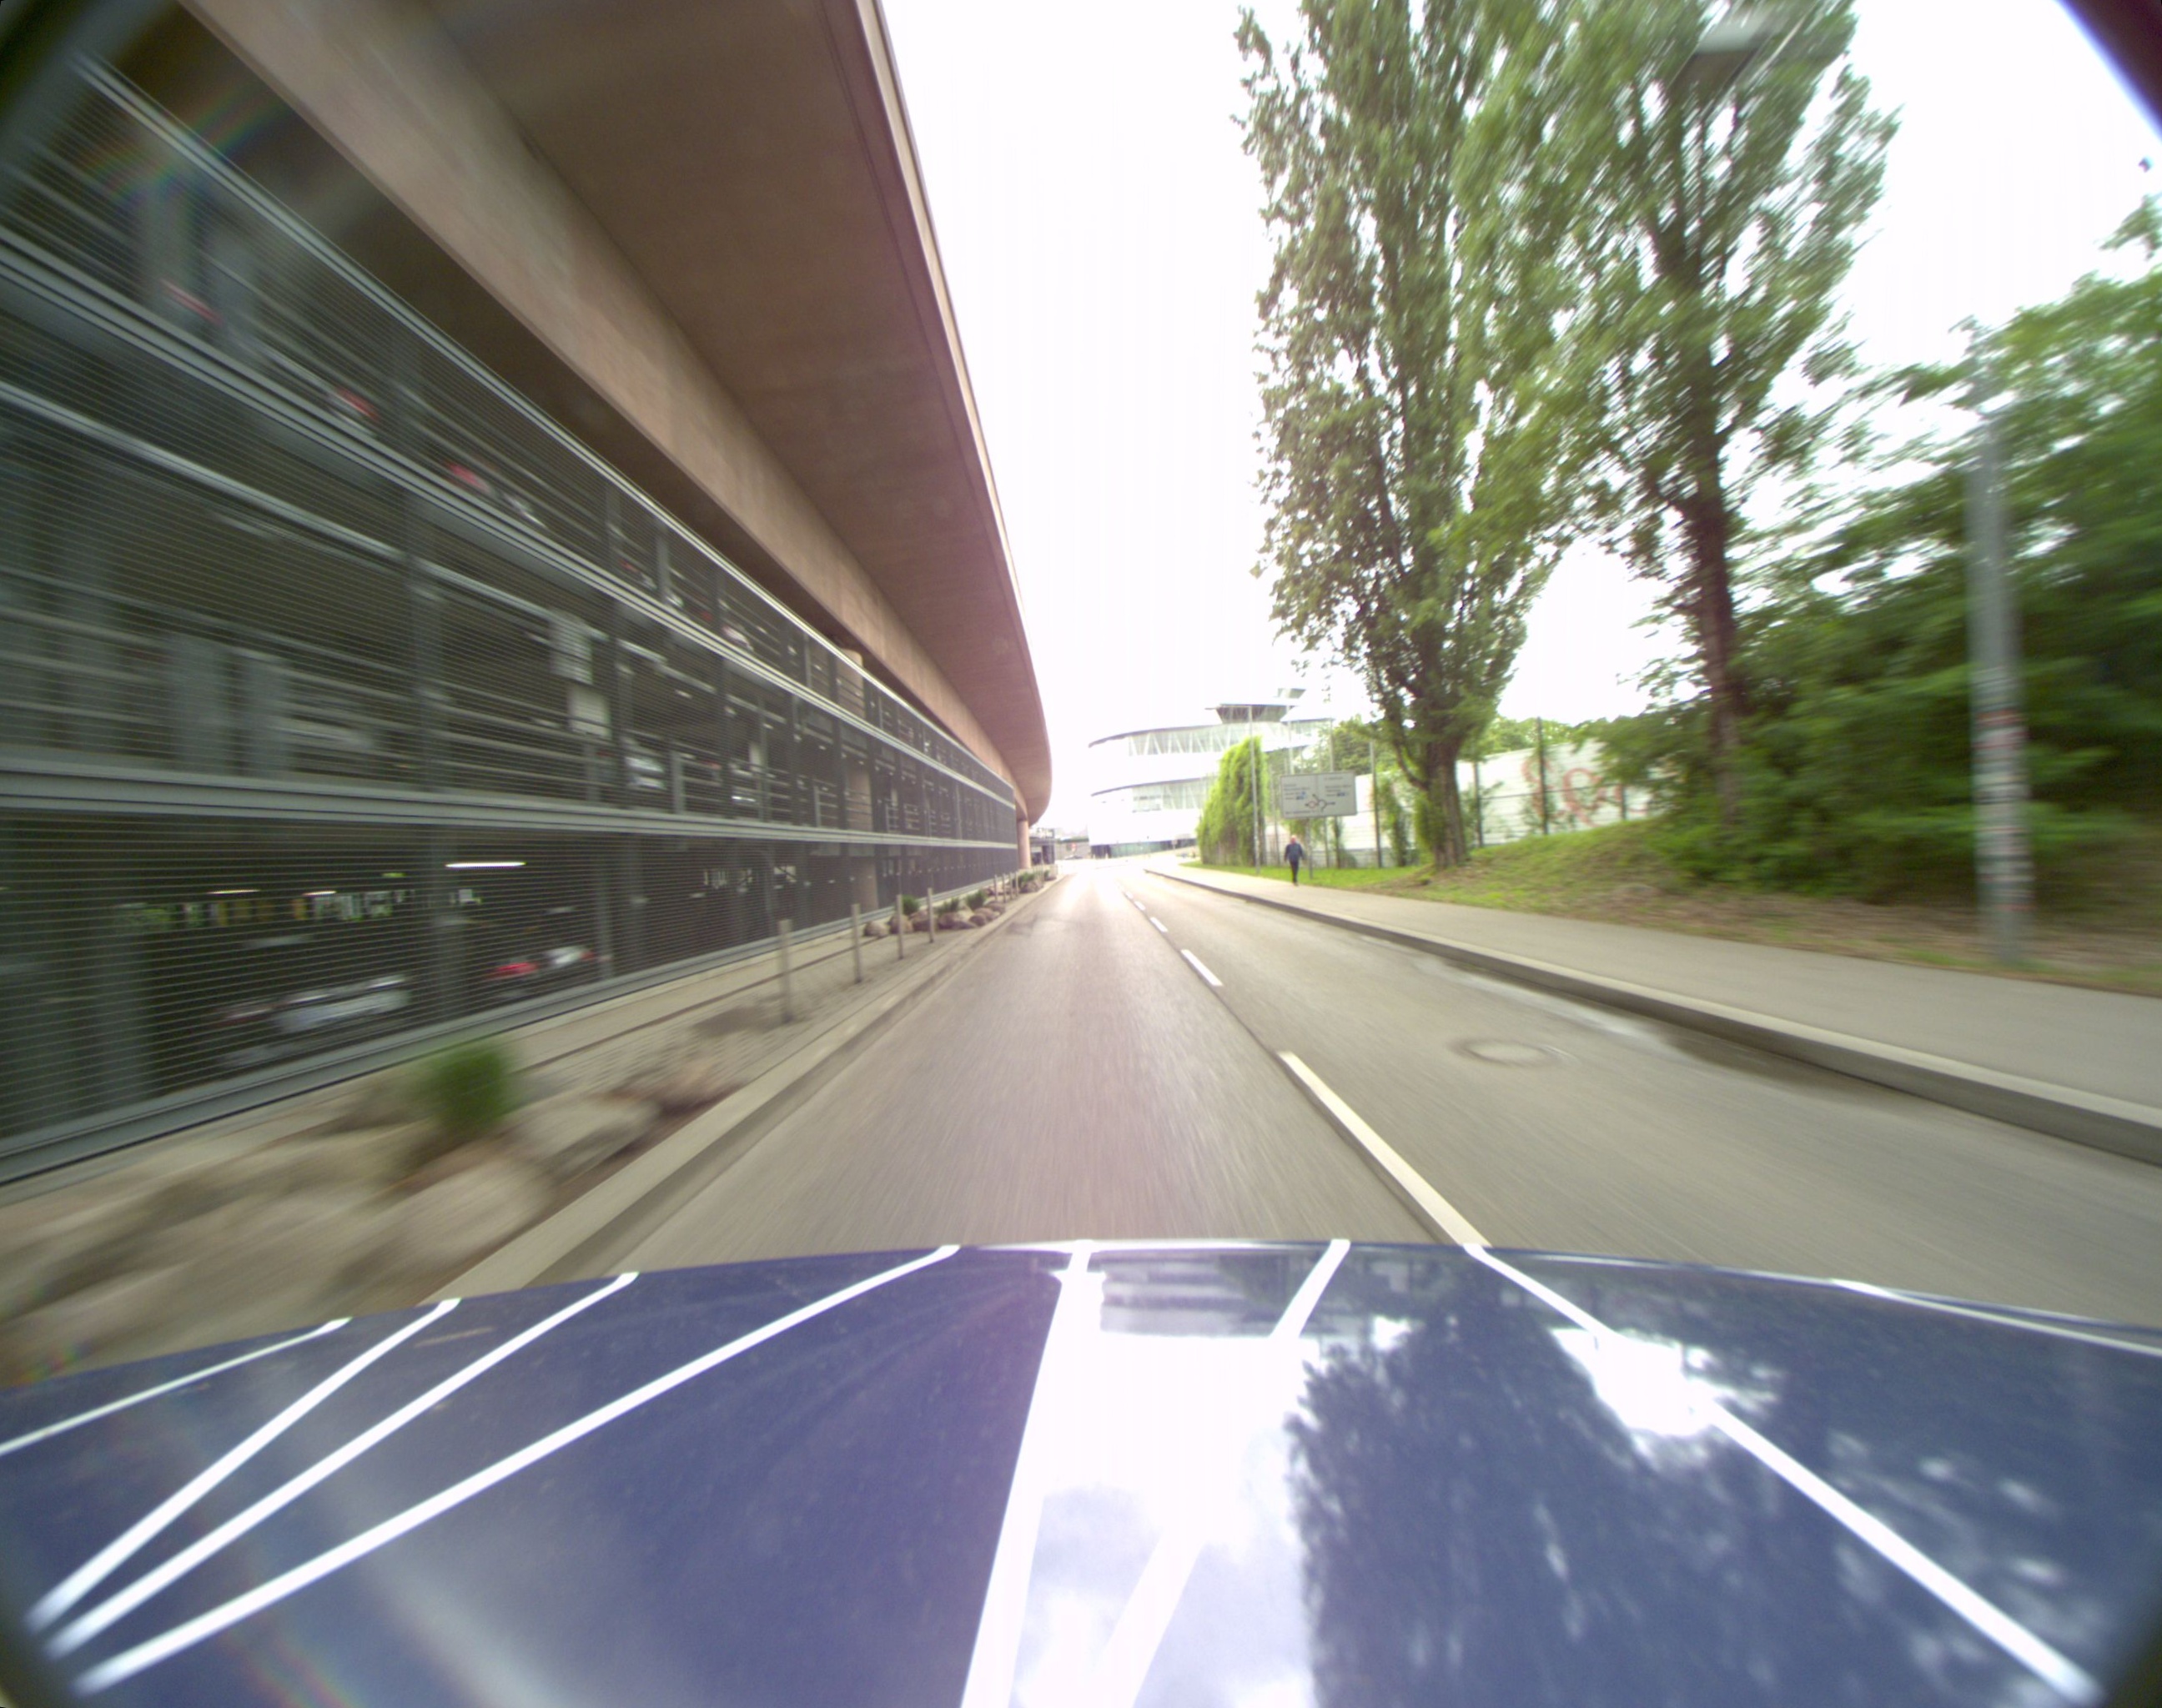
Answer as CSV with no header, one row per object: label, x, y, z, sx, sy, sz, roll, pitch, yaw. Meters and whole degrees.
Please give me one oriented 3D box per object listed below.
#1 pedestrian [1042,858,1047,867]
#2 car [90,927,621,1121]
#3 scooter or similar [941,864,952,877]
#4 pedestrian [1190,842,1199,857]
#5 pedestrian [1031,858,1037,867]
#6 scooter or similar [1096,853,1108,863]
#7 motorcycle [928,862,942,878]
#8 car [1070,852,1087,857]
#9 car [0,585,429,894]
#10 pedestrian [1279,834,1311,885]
pedestrian,-7.114,1.566,148.093,0.773,1.695,0.786,-3,-1,-22
car,-7.633,1.746,8.315,3.997,1.458,1.811,-4,0,1
scooter or similar,-11.670,1.424,66.012,0.399,1.127,1.252,-3,-1,12
pedestrian,15.604,-0.575,104.368,1.038,2.001,0.785,-3,-1,5
pedestrian,-9.121,1.611,147.817,0.784,1.787,0.863,-3,-1,-36
scooter or similar,2.993,0.531,109.408,1.649,1.288,0.518,-5,-1,-7
motorcycle,-12.630,1.402,65.864,0.607,1.295,2.130,-4,0,4
car,-0.791,0.210,232.211,4.907,1.390,1.534,-3,-1,-9
car,-7.810,-0.696,5.876,3.996,1.856,1.732,-3,-1,2
pedestrian,7.688,0.207,27.339,0.806,1.770,0.920,-3,-1,-1
